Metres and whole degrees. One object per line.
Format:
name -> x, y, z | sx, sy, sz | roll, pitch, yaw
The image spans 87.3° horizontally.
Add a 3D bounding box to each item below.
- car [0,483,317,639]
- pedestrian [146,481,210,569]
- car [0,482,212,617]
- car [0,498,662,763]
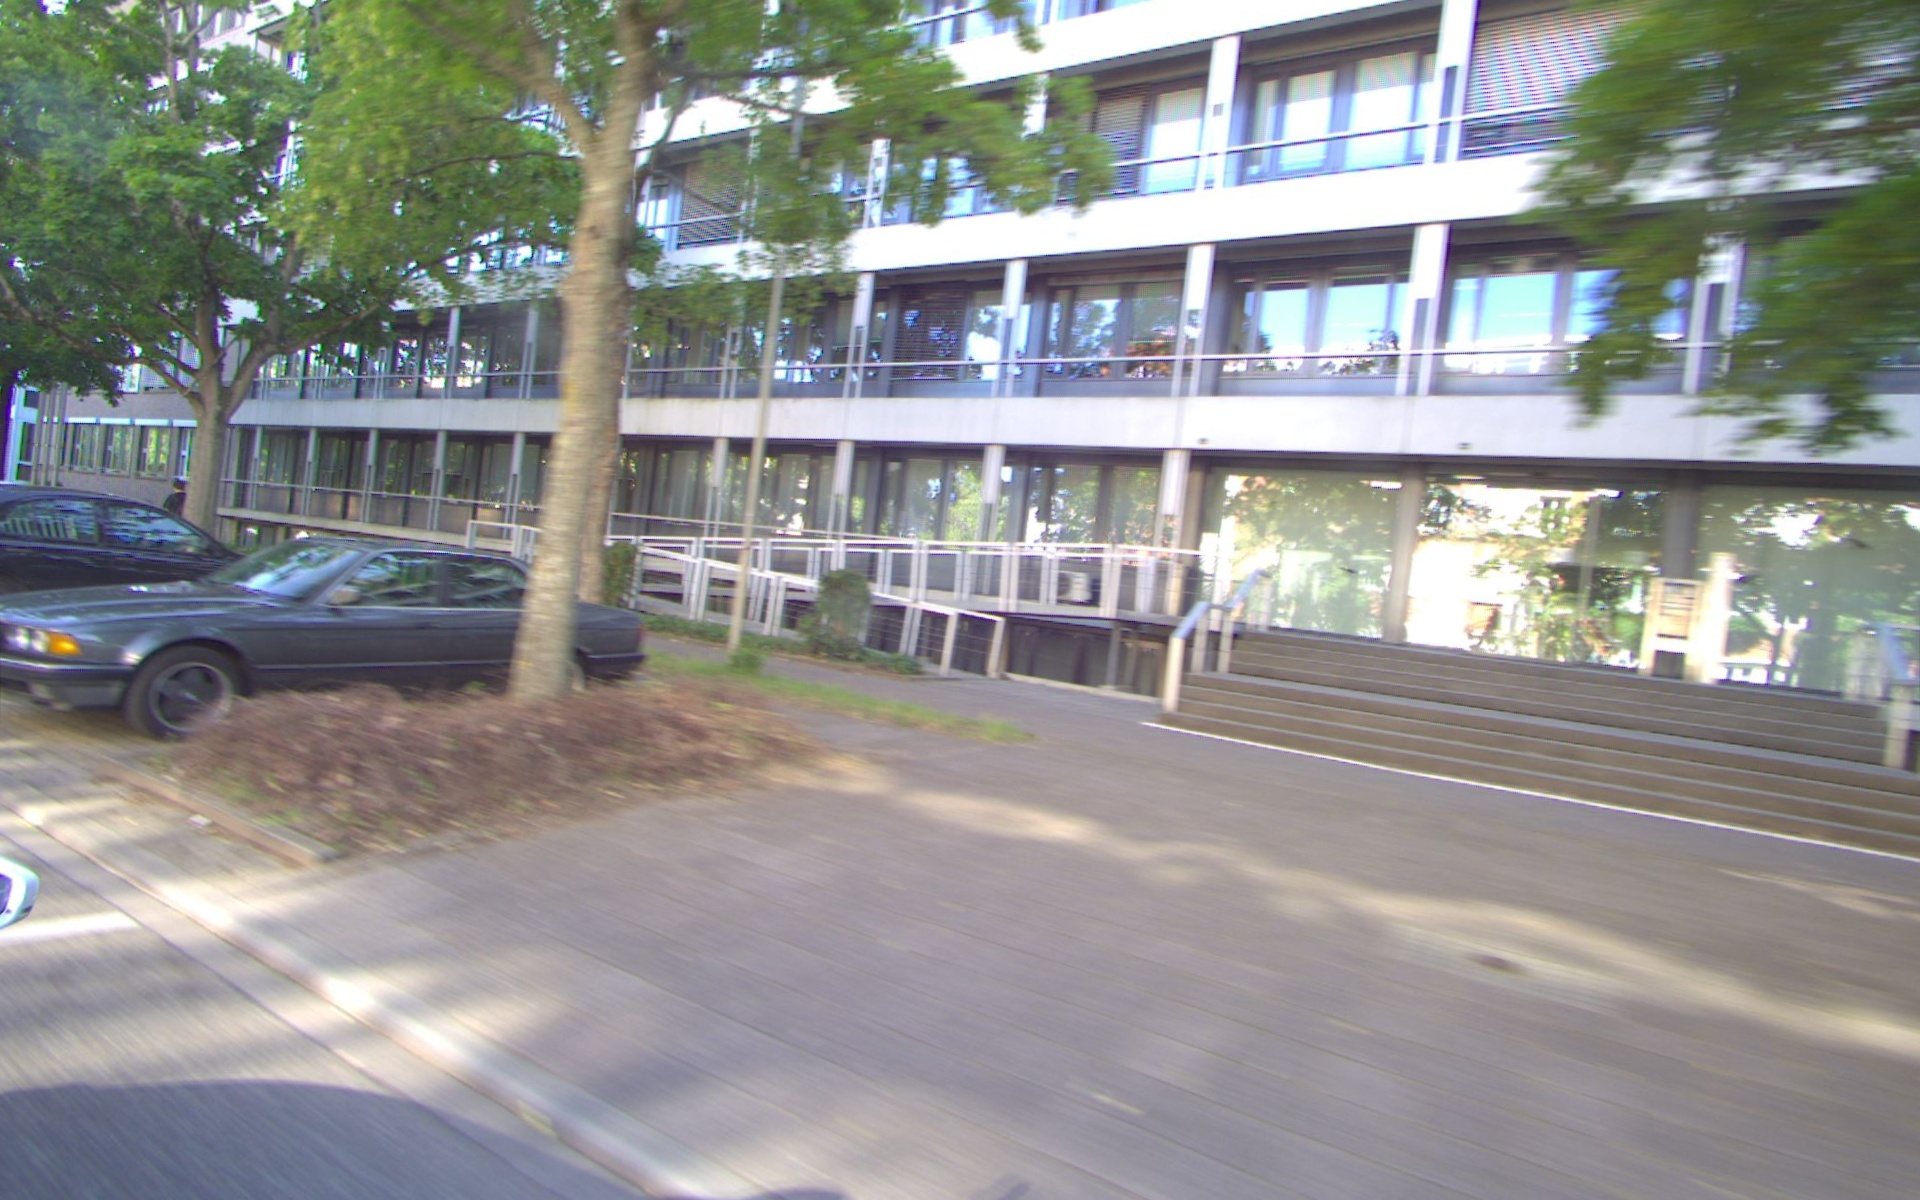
car -> -9.691, -0.437, 11.352 | 1.782, 1.534, 3.642 | 7, 2, 31
pedestrian -> -16.993, -1.627, 21.858 | 1.171, 1.768, 0.607 | 7, 2, 31
car -> -11.939, -0.695, 12.405 | 1.783, 1.534, 3.949 | 7, 2, 33
car -> -4.983, 0.167, 8.120 | 1.997, 1.438, 4.828 | 7, 2, 29
